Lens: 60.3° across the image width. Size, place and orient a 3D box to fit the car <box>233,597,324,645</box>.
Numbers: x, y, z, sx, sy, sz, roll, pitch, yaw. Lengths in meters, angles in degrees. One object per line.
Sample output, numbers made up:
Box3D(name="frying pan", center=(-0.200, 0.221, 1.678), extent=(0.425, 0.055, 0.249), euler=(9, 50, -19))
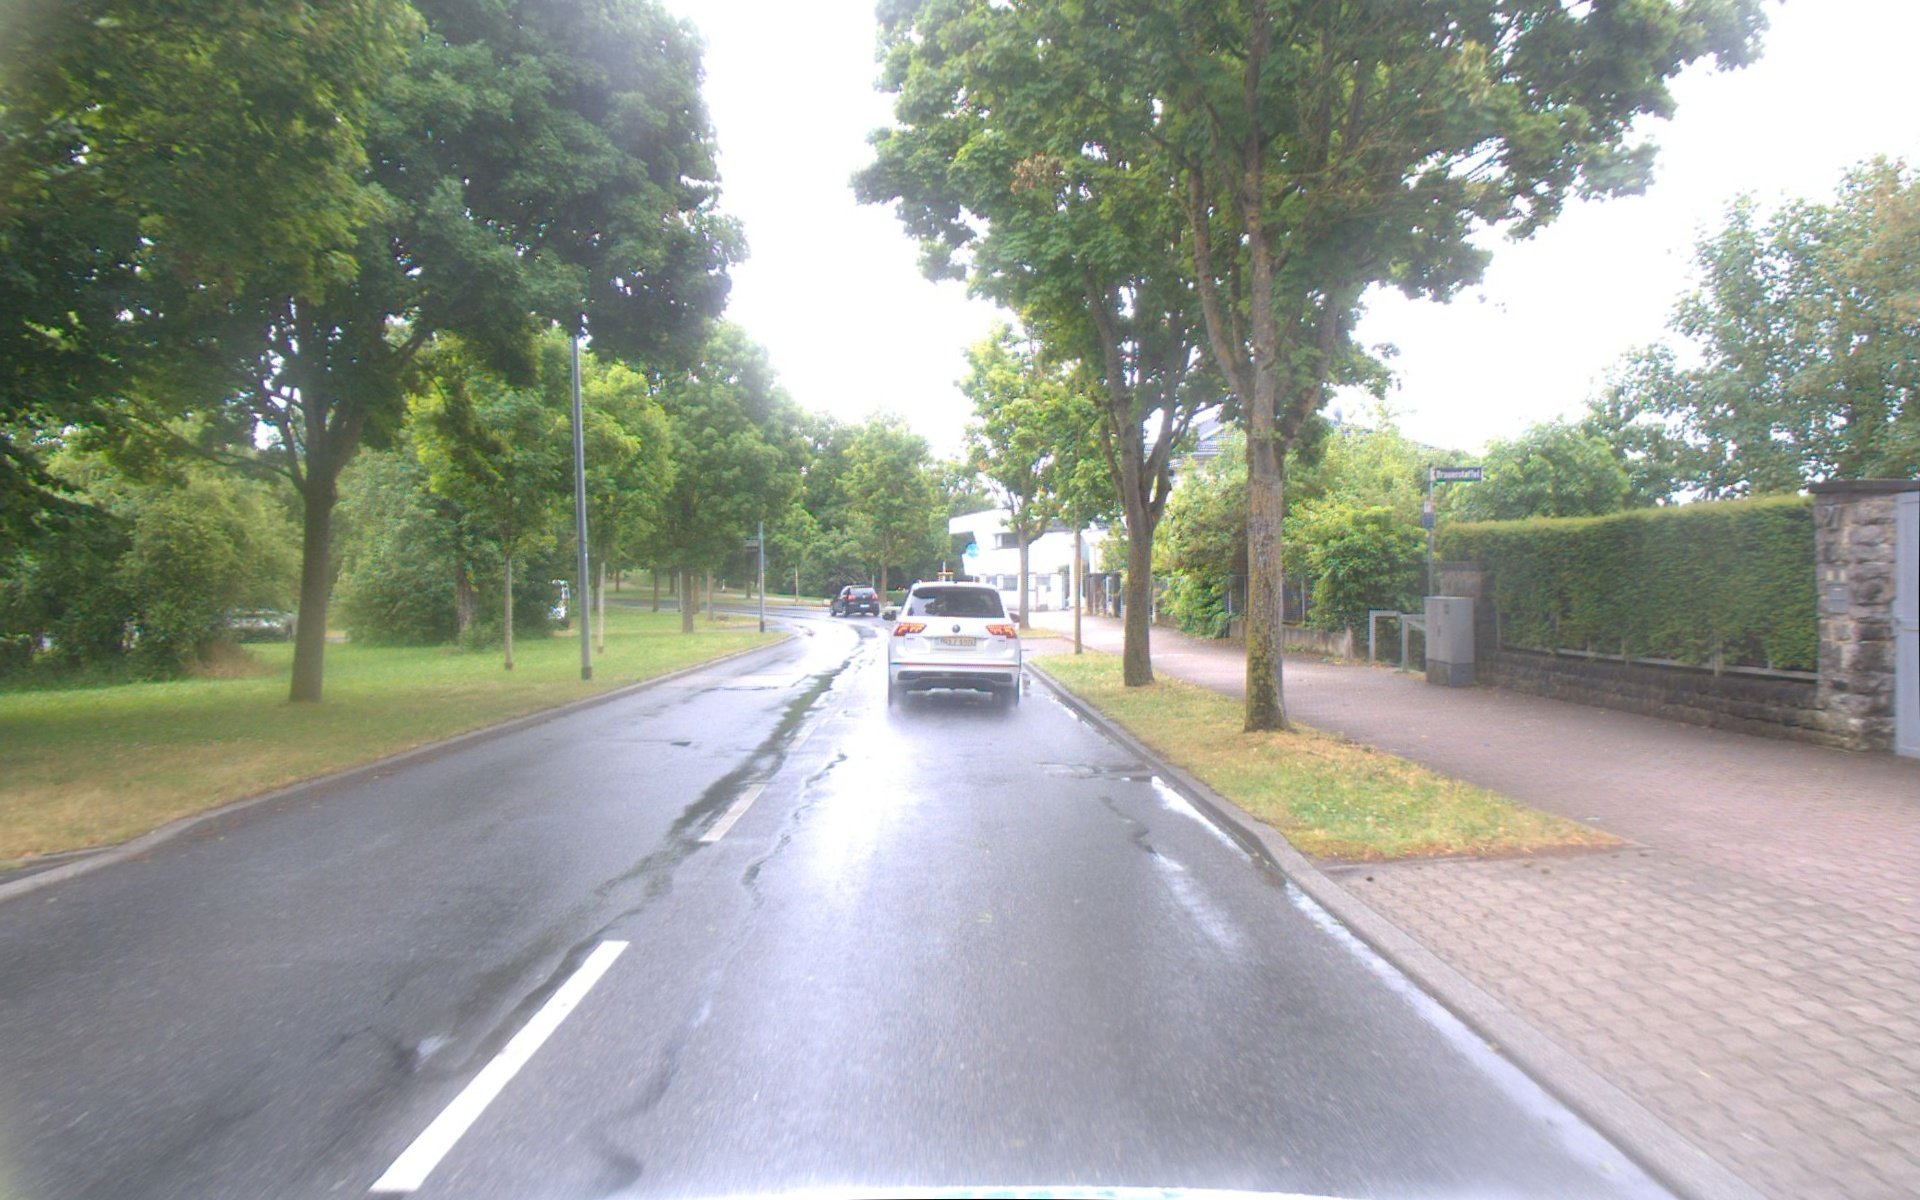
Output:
Box3D(name="car", center=(-23.600, 0.738, 57.462), extent=(1.757, 1.564, 4.993), euler=(-1, -1, -9))

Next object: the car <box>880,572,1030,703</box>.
Box3D(name="car", center=(-0.073, 0.462, 23.507), extent=(1.934, 1.681, 4.177), euler=(0, 1, 0))

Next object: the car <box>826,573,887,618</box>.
Box3D(name="car", center=(-5.010, -0.221, 79.547), extent=(1.873, 2.049, 3.922), euler=(1, 0, -20))

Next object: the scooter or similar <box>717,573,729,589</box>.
Box3D(name="scooter or similar", center=(-18.021, -1.476, 125.758), extent=(0.458, 1.166, 1.290), euler=(-3, 3, -27))

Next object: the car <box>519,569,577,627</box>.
Box3D(name="car", center=(-17.223, -0.141, 69.352), extent=(2.090, 2.020, 5.460), euler=(-3, 4, -12))

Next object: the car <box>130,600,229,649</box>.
Box3D(name="car", center=(-26.964, 0.825, 57.266), extent=(1.818, 1.608, 4.344), euler=(-1, 0, -8))
